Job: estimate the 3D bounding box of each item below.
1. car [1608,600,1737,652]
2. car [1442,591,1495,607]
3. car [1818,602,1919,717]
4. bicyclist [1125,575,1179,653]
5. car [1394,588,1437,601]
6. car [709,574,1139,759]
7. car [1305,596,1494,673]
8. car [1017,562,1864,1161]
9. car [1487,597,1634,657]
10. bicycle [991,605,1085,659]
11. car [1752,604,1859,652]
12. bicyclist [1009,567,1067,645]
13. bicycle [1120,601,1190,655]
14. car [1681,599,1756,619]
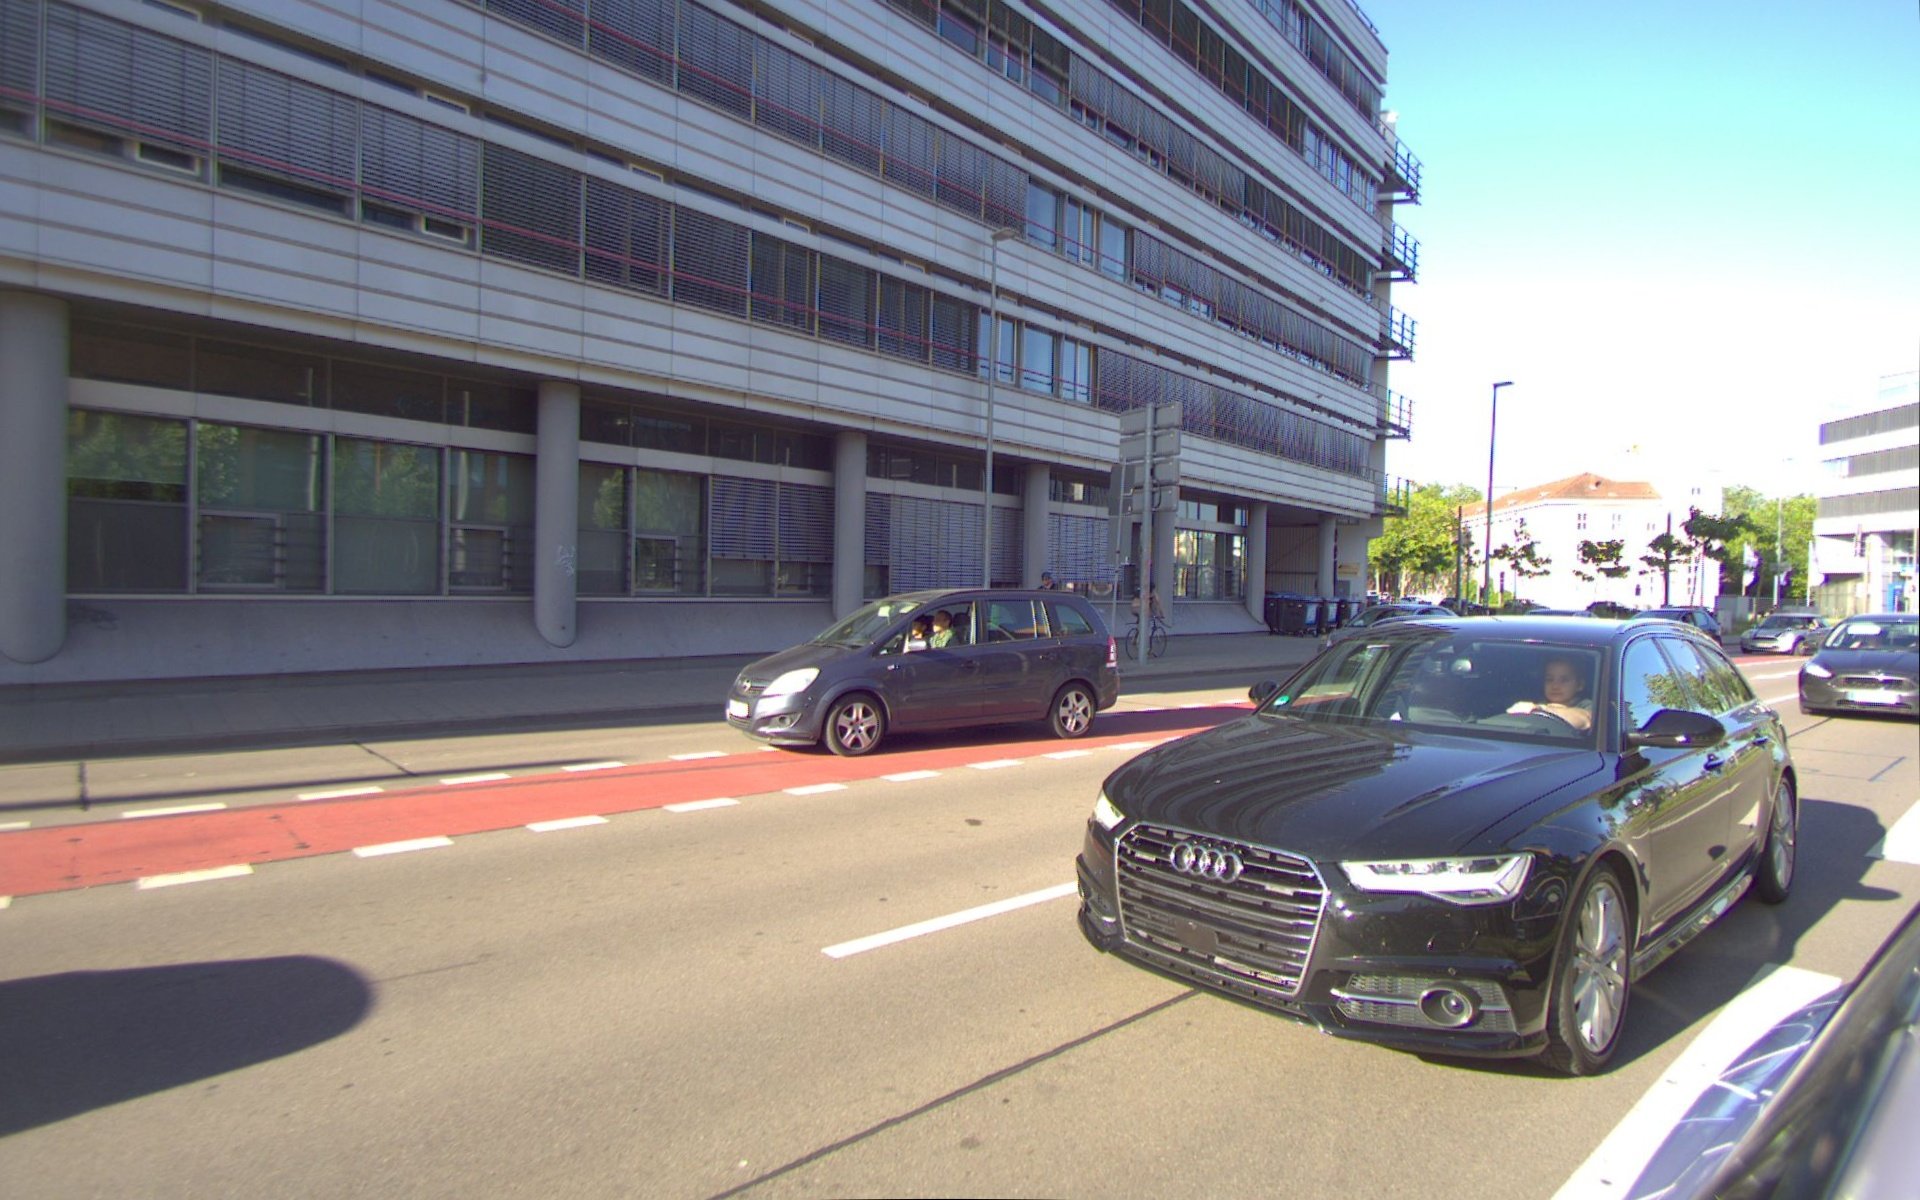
[{"bbox_3d":[21.953,0.777,31.161,3.919,1.464,1.739,1,1,-30],"label":"car"},{"bbox_3d":[50.740,-0.086,101.013,1.958,1.440,4.536,1,1,-22],"label":"car"},{"bbox_3d":[13.797,0.805,14.541,4.081,1.451,1.688,1,1,-42],"label":"car"},{"bbox_3d":[4.177,0.295,22.008,0.973,1.638,0.685,1,1,-40],"label":"bicyclist"},{"bbox_3d":[48.585,-0.607,107.993,1.958,1.259,4.009,1,1,-16],"label":"car"},{"bbox_3d":[-0.300,0.587,10.948,4.374,1.649,1.695,0,1,-31],"label":"car"},{"bbox_3d":[9.535,0.680,21.814,4.404,1.449,1.756,0,1,-36],"label":"car"},{"bbox_3d":[2.500,0.667,4.671,4.415,1.511,1.815,0,-1,-39],"label":"car"},{"bbox_3d":[15.989,0.706,26.907,4.030,1.459,1.717,1,0,-33],"label":"car"},{"bbox_3d":[1.641,0.643,21.023,2.165,1.045,0.500,0,2,-38],"label":"bicycle"},{"bbox_3d":[28.832,0.972,34.480,3.919,1.463,1.442,2,1,-29],"label":"car"},{"bbox_3d":[1.631,0.107,21.172,1.024,1.586,0.626,0,1,-36],"label":"bicyclist"},{"bbox_3d":[4.207,0.586,21.741,1.672,1.070,0.505,-1,4,-41],"label":"bicycle"},{"bbox_3d":[59.810,0.666,79.886,1.958,1.440,4.304,1,1,-22],"label":"car"}]
